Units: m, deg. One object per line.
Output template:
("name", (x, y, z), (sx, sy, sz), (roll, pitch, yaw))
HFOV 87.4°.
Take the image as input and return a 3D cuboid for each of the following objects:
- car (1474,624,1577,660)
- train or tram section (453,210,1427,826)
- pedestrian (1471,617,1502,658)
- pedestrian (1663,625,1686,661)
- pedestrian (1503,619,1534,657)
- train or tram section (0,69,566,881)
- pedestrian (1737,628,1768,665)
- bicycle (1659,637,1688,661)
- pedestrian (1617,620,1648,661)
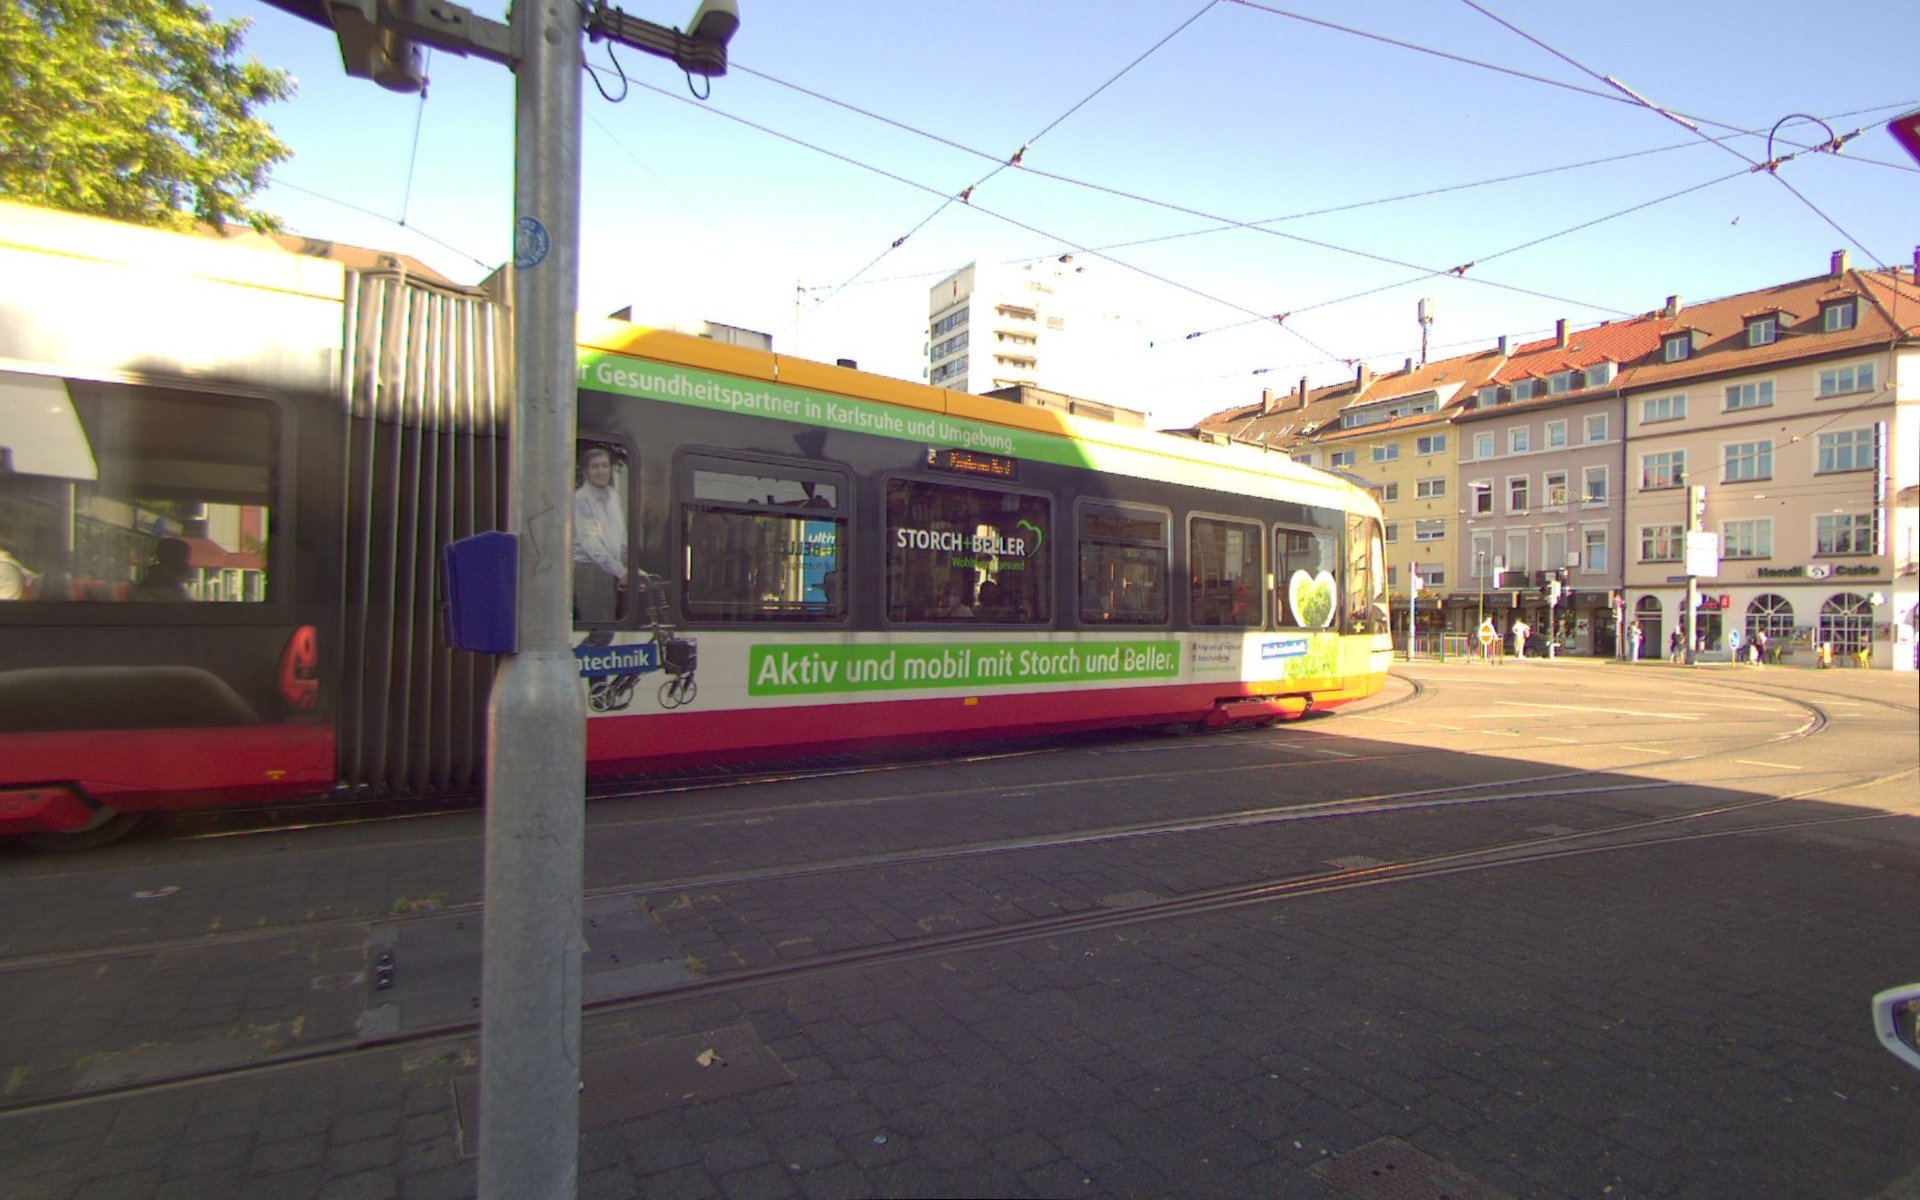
("car", (30.816, 2.289, 54.843), (2.277, 1.734, 4.350), (2, 0, -27))
("train or tram section", (1.178, -0.382, 11.400), (12.028, 3.864, 2.906), (2, -1, -42))
("pedestrian", (21.265, 1.495, 40.575), (0.867, 1.598, 0.665), (2, 0, -2))
("pedestrian", (34.083, 2.050, 47.920), (0.743, 1.692, 0.579), (2, 0, -30))
("pedestrian", (24.419, 1.666, 43.910), (0.821, 1.598, 0.847), (2, 0, -20))
("train or tram section", (-8.491, -0.671, 3.809), (12.692, 3.864, 2.913), (2, -1, -35))
("pedestrian", (35.411, 2.076, 44.875), (0.816, 1.598, 0.728), (2, 0, 14))
("bicycle", (34.032, 2.347, 47.895), (1.479, 1.091, 0.570), (2, 0, -30))
("pedestrian", (26.675, 1.605, 39.833), (0.817, 1.598, 0.552), (2, 0, -2))
